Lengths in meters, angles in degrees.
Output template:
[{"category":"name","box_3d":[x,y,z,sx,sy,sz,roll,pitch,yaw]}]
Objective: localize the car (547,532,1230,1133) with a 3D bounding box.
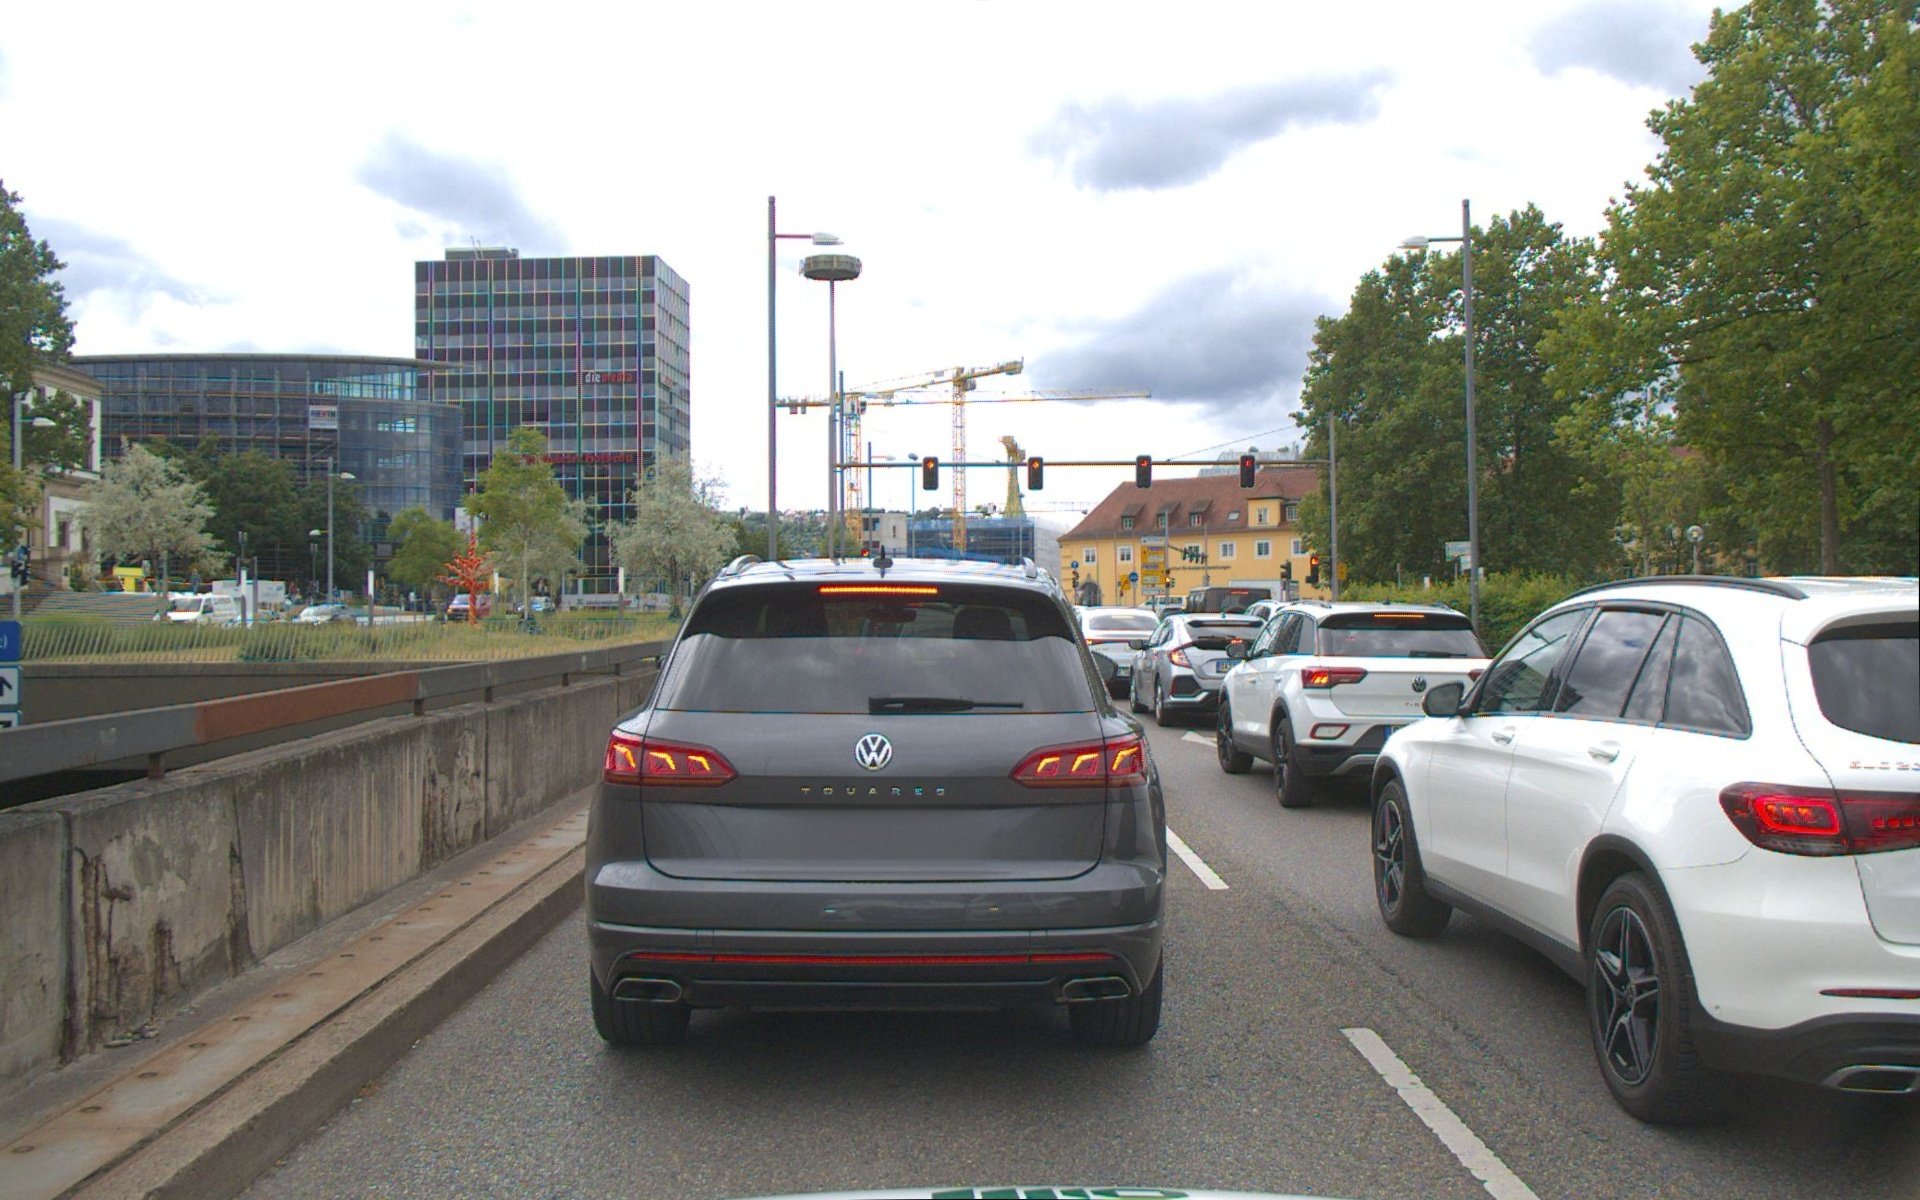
[{"category":"car","box_3d":[-0.229,0.660,6.655,1.912,1.680,3.999,0,0,-1]}]

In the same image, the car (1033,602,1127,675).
[{"category":"car","box_3d":[2.687,0.855,37.779,1.887,1.556,4.047,1,-1,0]}]

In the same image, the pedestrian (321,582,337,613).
[{"category":"pedestrian","box_3d":[-42.866,-0.175,112.413,0.723,2.049,0.793,-1,-2,3]}]

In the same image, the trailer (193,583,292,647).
[{"category":"trailer","box_3d":[-31.607,0.620,73.051,1.996,2.650,5.507,2,1,-1]}]

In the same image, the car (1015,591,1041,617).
[{"category":"car","box_3d":[4.558,0.289,111.398,1.586,1.656,3.999,2,-1,0]}]

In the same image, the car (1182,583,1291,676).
[{"category":"car","box_3d":[6.484,0.689,39.207,1.871,2.049,4.011,2,-1,0]}]

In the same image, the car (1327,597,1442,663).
[{"category":"car","box_3d":[10.218,0.735,40.133,1.891,1.485,4.528,1,-1,4]}]

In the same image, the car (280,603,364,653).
[{"category":"car","box_3d":[-28.583,1.236,74.293,1.953,2.048,4.692,0,1,0]}]

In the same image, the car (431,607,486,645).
[{"category":"car","box_3d":[-29.332,1.474,96.908,1.953,2.048,4.690,0,1,-2]}]

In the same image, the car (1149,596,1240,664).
[{"category":"car","box_3d":[6.305,0.802,44.783,1.871,1.727,4.011,2,-1,0]}]

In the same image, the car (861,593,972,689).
[{"category":"car","box_3d":[-0.798,0.729,31.011,1.912,1.628,3.930,2,0,-1]}]

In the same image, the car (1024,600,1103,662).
[{"category":"car","box_3d":[2.709,0.822,44.068,1.887,1.556,4.047,1,-1,0]}]

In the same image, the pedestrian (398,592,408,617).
[{"category":"pedestrian","box_3d":[-47.485,0.378,141.000,0.728,2.049,0.787,-1,1,-23]}]

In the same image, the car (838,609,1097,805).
[{"category":"car","box_3d":[0.022,0.817,14.394,1.912,1.408,3.930,2,0,-1]}]

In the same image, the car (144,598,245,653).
[{"category":"car","box_3d":[-31.369,1.011,67.952,1.953,2.048,4.692,0,1,0]}]

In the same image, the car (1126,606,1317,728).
[{"category":"car","box_3d":[3.388,0.843,22.245,1.887,1.457,4.489,1,-1,0]}]

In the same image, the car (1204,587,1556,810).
[{"category":"car","box_3d":[3.340,0.731,14.074,1.887,1.578,4.489,1,-1,0]}]

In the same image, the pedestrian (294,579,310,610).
[{"category":"pedestrian","box_3d":[-43.938,-0.364,110.485,0.723,2.049,0.793,-1,1,0]}]

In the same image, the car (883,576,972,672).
[{"category":"car","box_3d":[-0.753,0.536,38.547,1.912,2.053,3.930,2,0,-1]}]

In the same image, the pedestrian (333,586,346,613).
[{"category":"pedestrian","box_3d":[-48.077,-0.044,128.191,0.775,2.049,0.740,-1,1,-6]}]

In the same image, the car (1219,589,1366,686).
[{"category":"car","box_3d":[6.429,0.669,32.459,1.953,1.668,4.304,0,2,-1]}]

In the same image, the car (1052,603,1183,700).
[{"category":"car","box_3d":[2.671,0.856,28.958,1.887,1.556,4.489,1,-1,0]}]

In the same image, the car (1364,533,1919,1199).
[{"category":"car","box_3d":[2.994,0.670,6.204,1.887,1.682,4.490,0,0,0]}]

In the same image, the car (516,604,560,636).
[{"category":"car","box_3d":[-29.023,1.349,113.891,1.953,2.048,4.691,0,1,-1]}]
